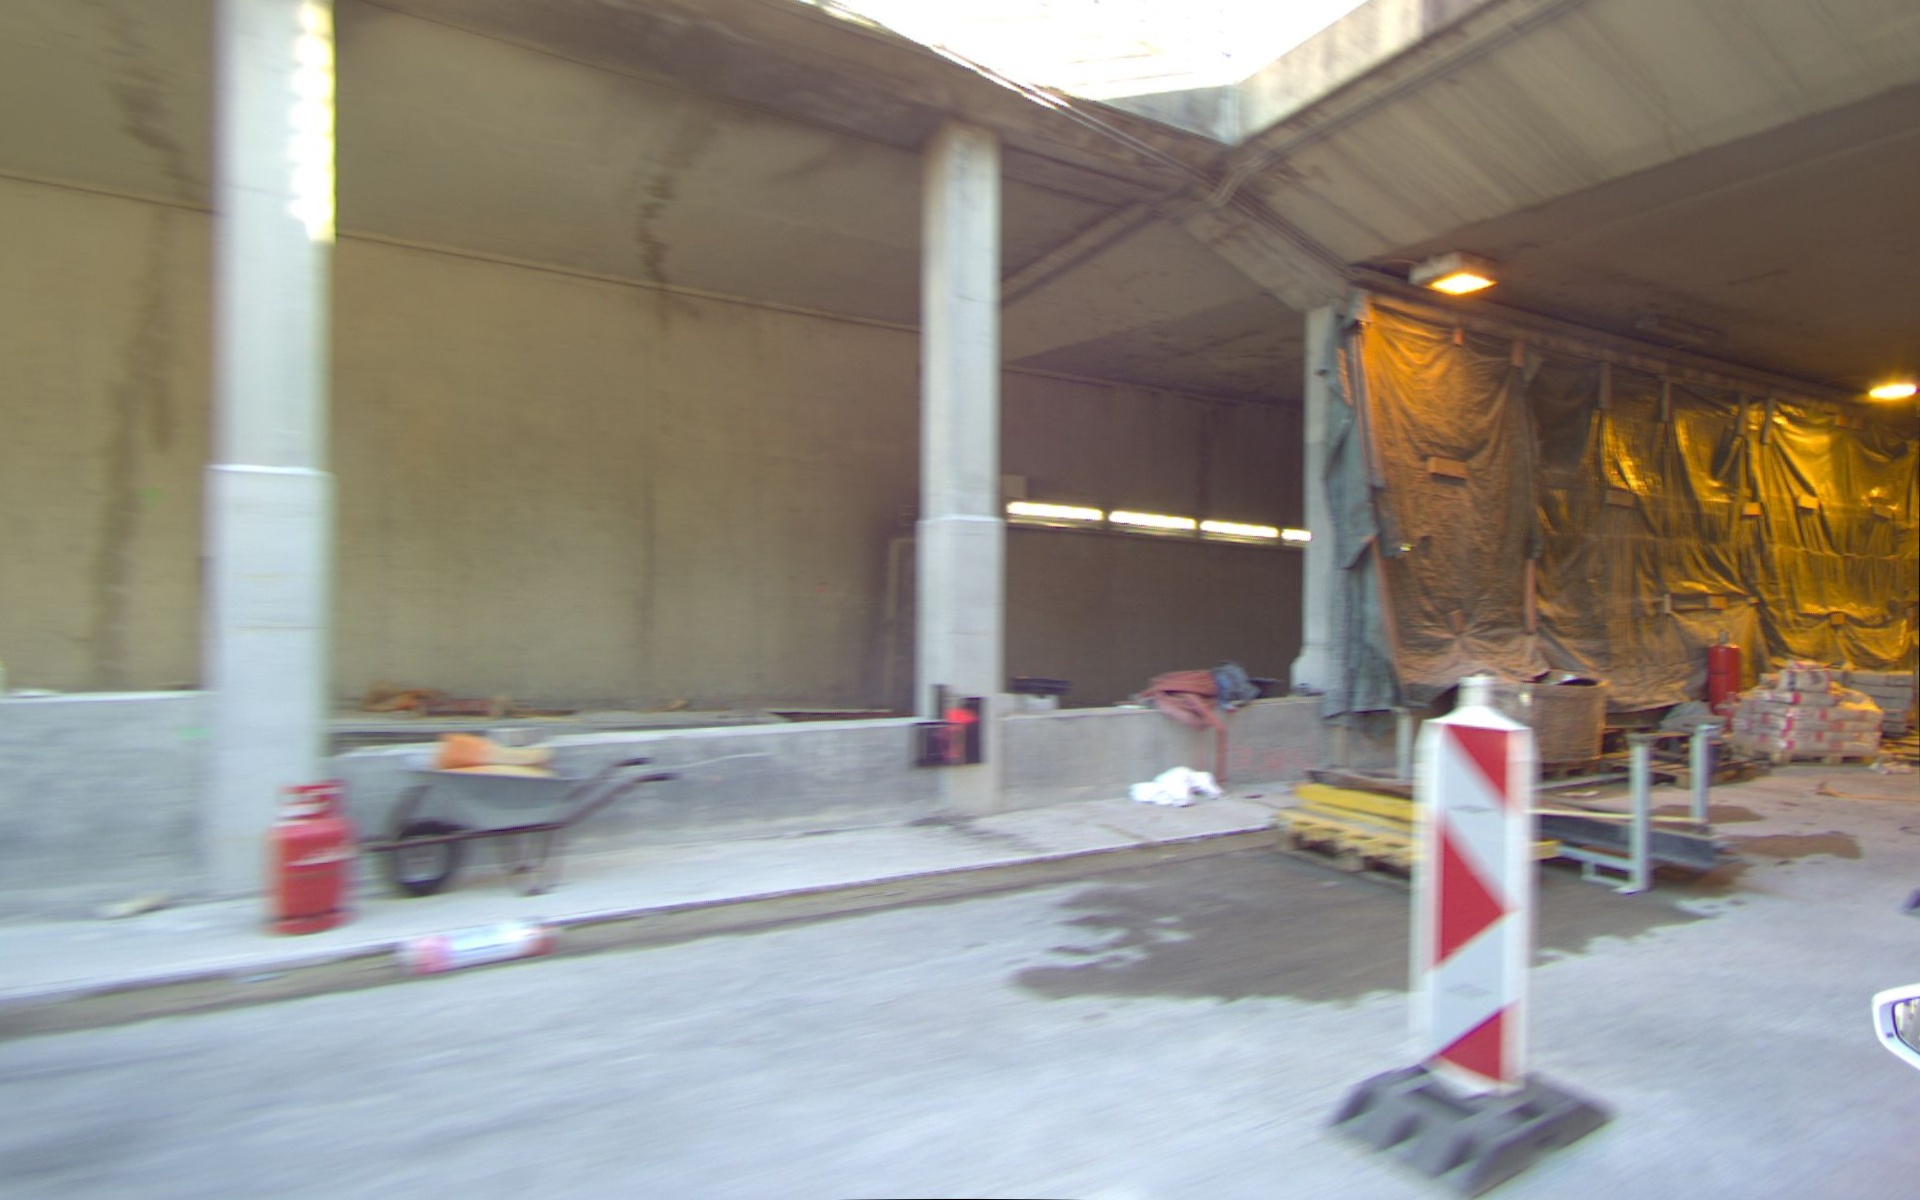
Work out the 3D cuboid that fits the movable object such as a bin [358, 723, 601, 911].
[{"bbox_3d":[-2.408,1.034,5.037,1.020,0.751,0.648,3,-2,-32],"label":"movable object such as a bin"}]
